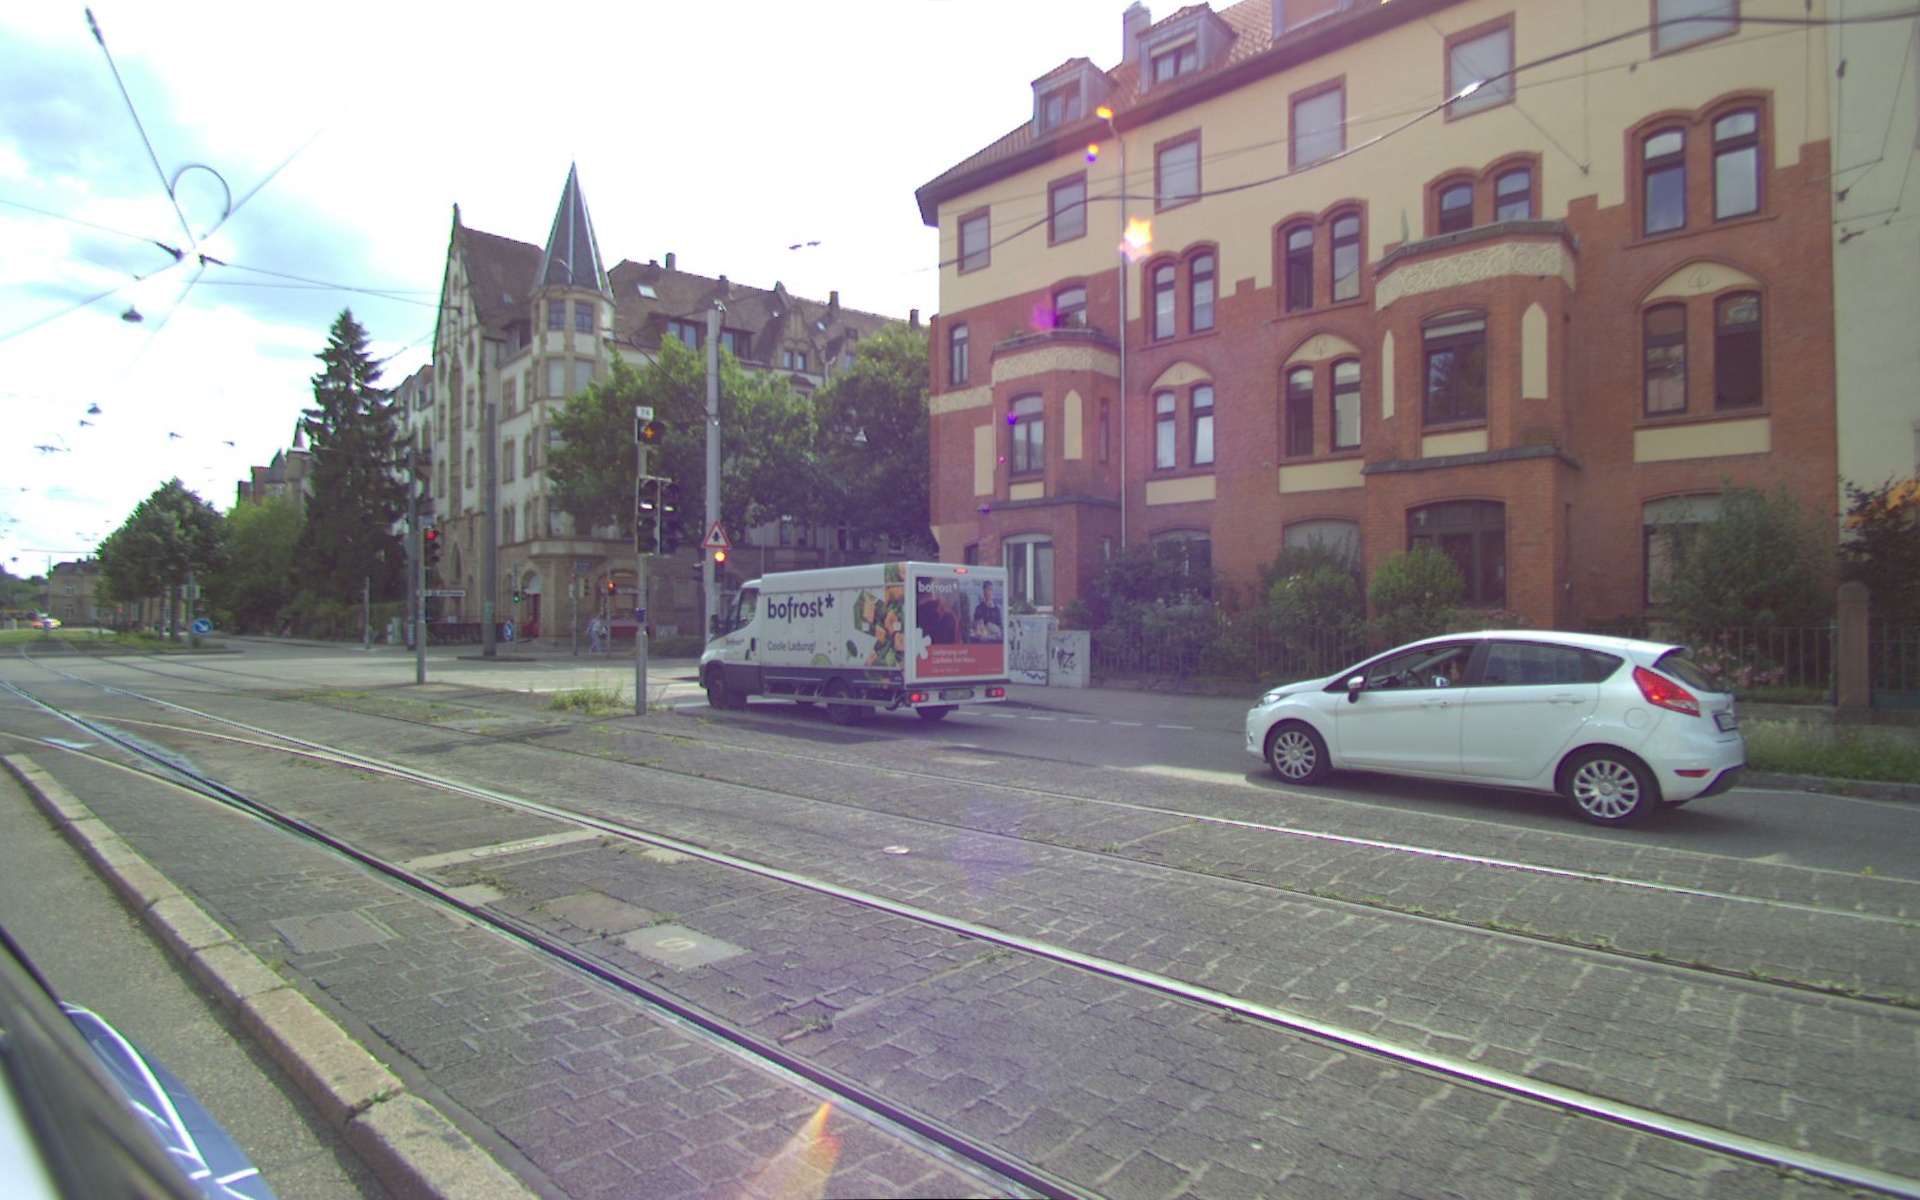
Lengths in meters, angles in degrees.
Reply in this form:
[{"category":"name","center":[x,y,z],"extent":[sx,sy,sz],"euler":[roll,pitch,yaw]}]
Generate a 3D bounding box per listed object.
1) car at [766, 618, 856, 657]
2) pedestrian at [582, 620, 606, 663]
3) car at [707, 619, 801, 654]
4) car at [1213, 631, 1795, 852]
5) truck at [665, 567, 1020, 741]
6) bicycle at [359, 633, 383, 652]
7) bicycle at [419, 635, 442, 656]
[{"category":"car","center":[-7.344,1.862,50.025],"extent":[3.935,1.835,2.004],"euler":[2,-3,-38]},{"category":"pedestrian","center":[-15.219,1.706,42.081],"extent":[0.919,1.754,0.772],"euler":[0,-2,-18]},{"category":"car","center":[-10.397,1.854,51.157],"extent":[4.201,1.698,2.003],"euler":[2,-3,-41]},{"category":"car","center":[4.486,1.023,8.838],"extent":[1.734,1.425,4.138],"euler":[4,-3,-43]},{"category":"truck","center":[-2.173,0.793,16.203],"extent":[2.158,2.231,6.619],"euler":[2,-3,-42]},{"category":"bicycle","center":[-32.388,2.330,55.614],"extent":[0.616,0.979,2.338],"euler":[2,-2,-44]},{"category":"bicycle","center":[-26.384,2.246,50.449],"extent":[0.583,0.979,1.631],"euler":[2,0,-44]}]
